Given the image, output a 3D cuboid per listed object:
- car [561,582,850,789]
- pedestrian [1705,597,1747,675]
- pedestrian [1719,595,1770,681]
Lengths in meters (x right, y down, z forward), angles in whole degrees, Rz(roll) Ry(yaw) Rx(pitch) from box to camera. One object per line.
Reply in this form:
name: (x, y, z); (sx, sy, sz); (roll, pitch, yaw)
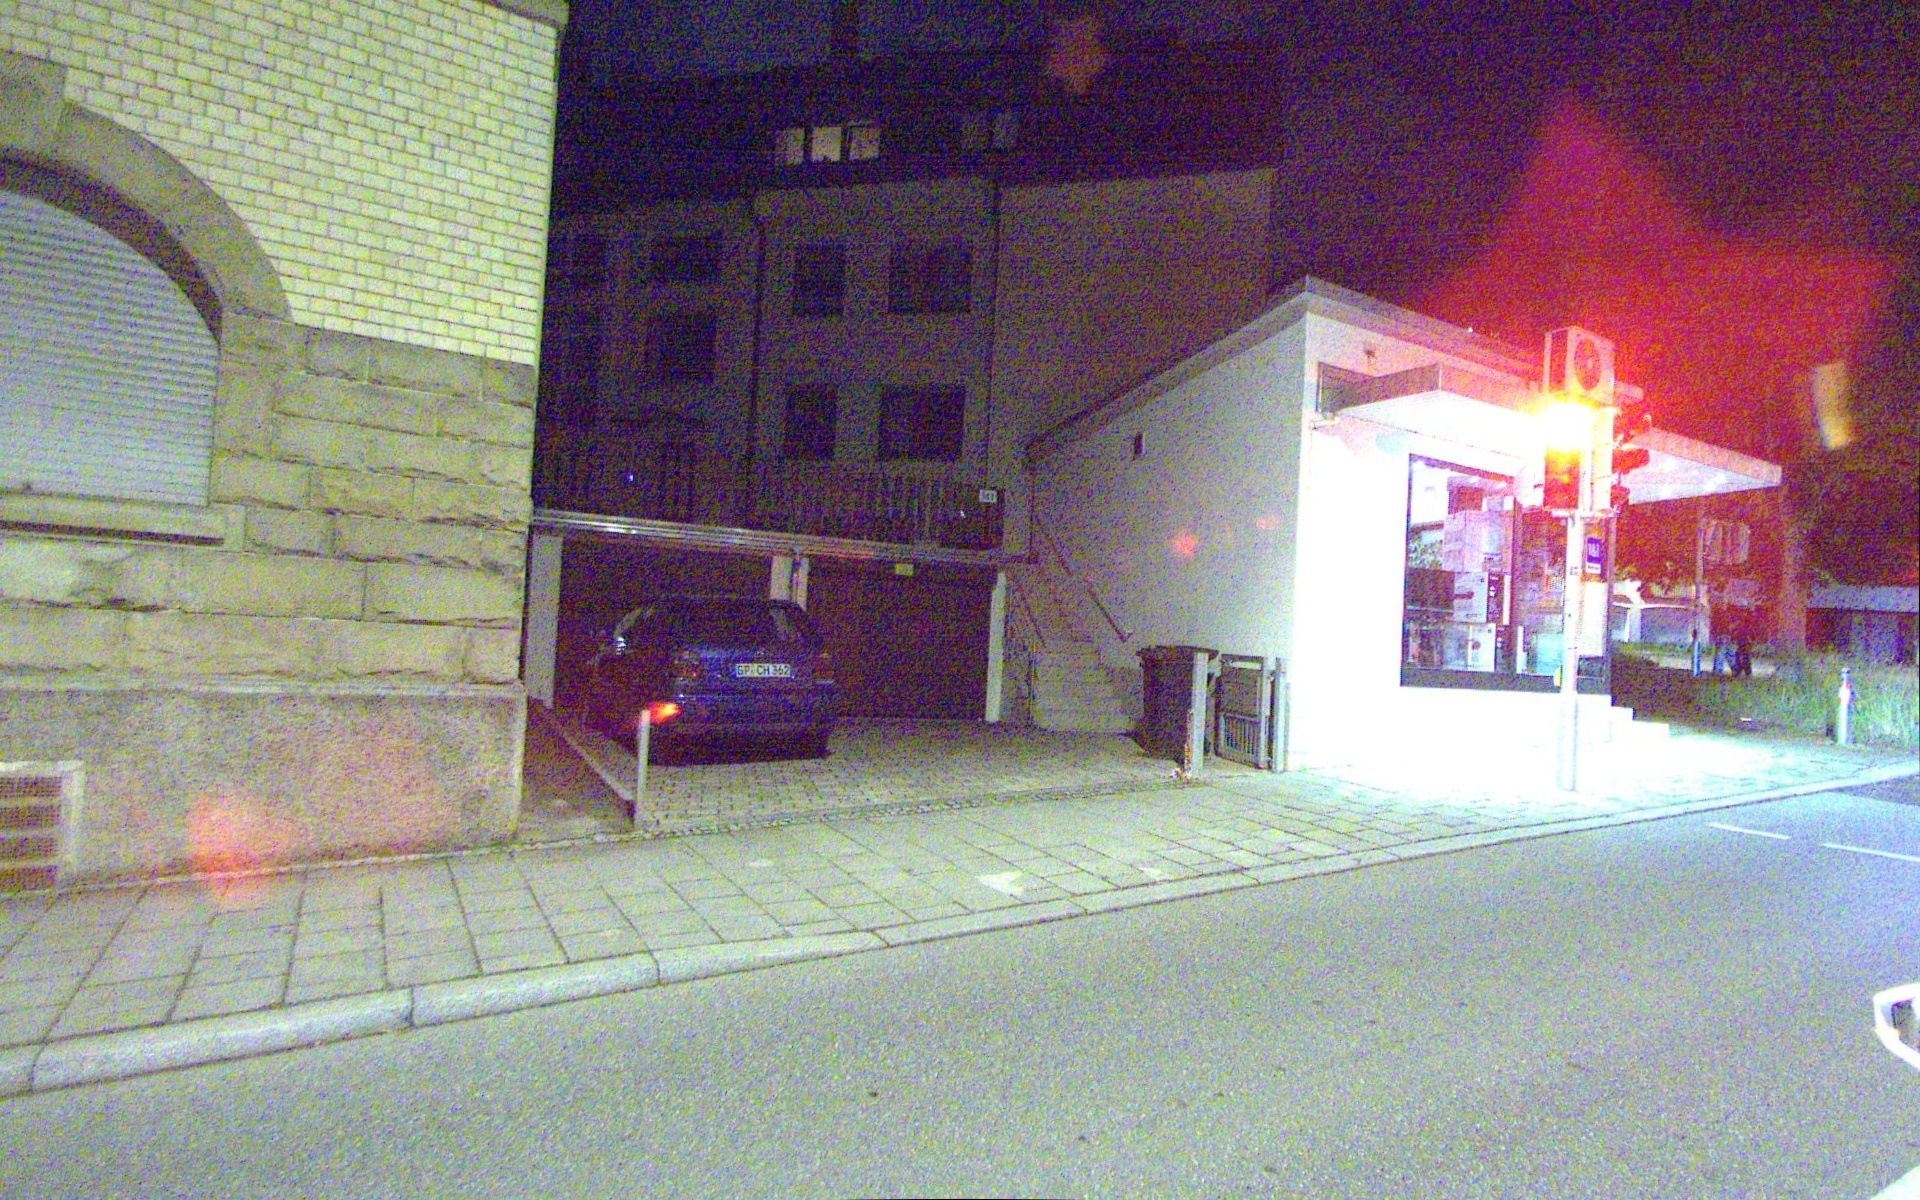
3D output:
car: (-2.579, 0.638, 9.532); (1.700, 1.460, 3.631); (2, 1, -30)
pedestrian: (17.588, 0.830, 23.066); (0.537, 1.754, 0.567); (2, 0, -30)
pedestrian: (16.930, 0.819, 21.674); (0.729, 1.801, 0.567); (2, 2, -30)
